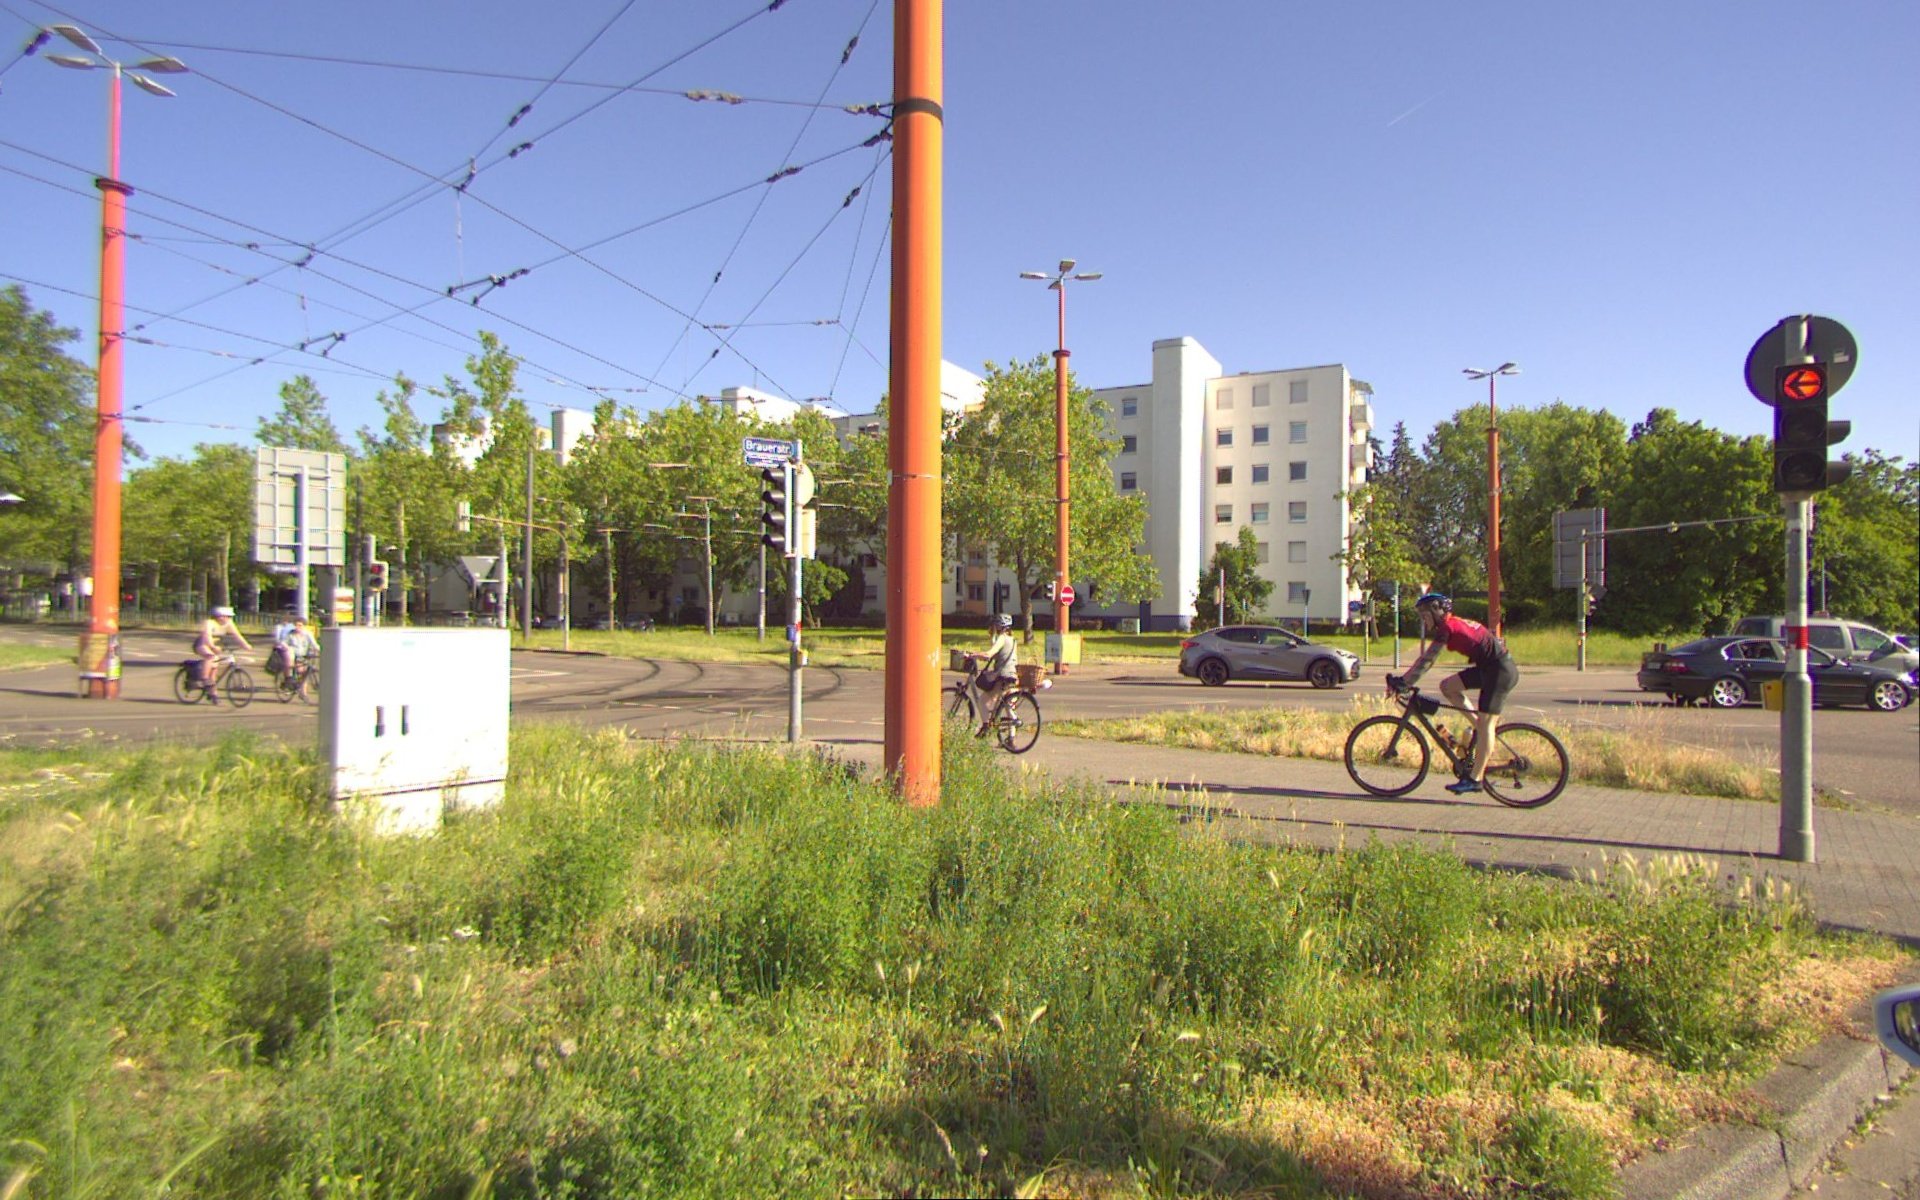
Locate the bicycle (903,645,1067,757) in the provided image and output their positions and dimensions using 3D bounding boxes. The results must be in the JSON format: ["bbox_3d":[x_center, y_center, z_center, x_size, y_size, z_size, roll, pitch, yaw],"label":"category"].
[{"bbox_3d":[0.283,1.180,12.207,1.915,1.210,0.690,0,-1,33],"label":"bicycle"}]

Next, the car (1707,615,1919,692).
[{"bbox_3d":[20.740,1.252,24.058,4.219,1.730,1.853,1,-1,8],"label":"car"}]

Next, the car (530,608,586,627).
[{"bbox_3d":[-31.941,1.375,79.967,3.935,1.428,1.794,1,-1,-17],"label":"car"}]

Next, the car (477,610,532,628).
[{"bbox_3d":[-38.035,1.574,83.879,3.935,1.428,1.794,1,-1,-17],"label":"car"}]

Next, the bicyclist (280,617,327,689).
[{"bbox_3d":[-13.062,1.046,19.990,0.616,1.399,0.443,1,-1,-1],"label":"bicyclist"}]

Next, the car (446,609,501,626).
[{"bbox_3d":[-41.438,1.493,85.620,3.935,1.428,1.794,1,-1,-17],"label":"car"}]

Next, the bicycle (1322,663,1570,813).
[{"bbox_3d":[4.120,1.114,8.589,1.804,1.071,0.719,0,-1,40],"label":"bicycle"}]

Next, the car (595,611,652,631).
[{"bbox_3d":[-24.999,1.562,74.692,3.934,1.428,1.794,1,-1,-16],"label":"car"}]

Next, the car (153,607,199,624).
[{"bbox_3d":[-93.994,1.891,120.447,1.969,2.040,3.984,0,-1,38],"label":"car"}]

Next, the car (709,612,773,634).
[{"bbox_3d":[-14.545,1.556,66.838,1.770,1.428,3.987,0,-1,35],"label":"car"}]

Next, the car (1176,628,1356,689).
[{"bbox_3d":[7.987,1.483,26.305,4.349,1.441,1.837,0,-1,19],"label":"car"}]

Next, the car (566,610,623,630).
[{"bbox_3d":[-27.580,1.492,75.916,3.934,1.428,1.794,1,-1,-16],"label":"car"}]

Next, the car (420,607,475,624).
[{"bbox_3d":[-44.793,1.395,87.890,3.935,1.428,1.794,1,-1,-17],"label":"car"}]

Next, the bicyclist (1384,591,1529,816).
[{"bbox_3d":[4.191,0.823,8.474,0.981,1.764,0.734,0,-1,37],"label":"bicyclist"}]

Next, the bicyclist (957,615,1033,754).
[{"bbox_3d":[0.425,0.988,12.110,0.651,1.605,0.671,0,-1,33],"label":"bicyclist"}]

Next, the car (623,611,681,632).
[{"bbox_3d":[-22.258,1.553,72.641,3.934,1.428,1.794,1,-1,-16],"label":"car"}]

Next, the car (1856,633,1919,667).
[{"bbox_3d":[37.155,1.964,39.620,3.571,1.260,1.730,1,-1,-31],"label":"car"}]

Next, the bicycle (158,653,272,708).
[{"bbox_3d":[-14.014,1.502,18.929,1.612,0.974,0.685,1,-1,-1],"label":"bicycle"}]

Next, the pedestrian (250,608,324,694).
[{"bbox_3d":[-14.773,1.099,22.069,0.969,1.817,0.954,0,-1,23],"label":"pedestrian"}]

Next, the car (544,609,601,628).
[{"bbox_3d":[-30.079,1.425,78.070,3.934,1.428,1.794,1,-1,-16],"label":"car"}]

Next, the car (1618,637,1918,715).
[{"bbox_3d":[15.744,1.451,19.803,4.274,1.368,1.767,0,-1,11],"label":"car"}]

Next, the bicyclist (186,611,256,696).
[{"bbox_3d":[-13.926,1.001,18.945,0.752,1.565,0.732,1,-1,-1],"label":"bicyclist"}]
